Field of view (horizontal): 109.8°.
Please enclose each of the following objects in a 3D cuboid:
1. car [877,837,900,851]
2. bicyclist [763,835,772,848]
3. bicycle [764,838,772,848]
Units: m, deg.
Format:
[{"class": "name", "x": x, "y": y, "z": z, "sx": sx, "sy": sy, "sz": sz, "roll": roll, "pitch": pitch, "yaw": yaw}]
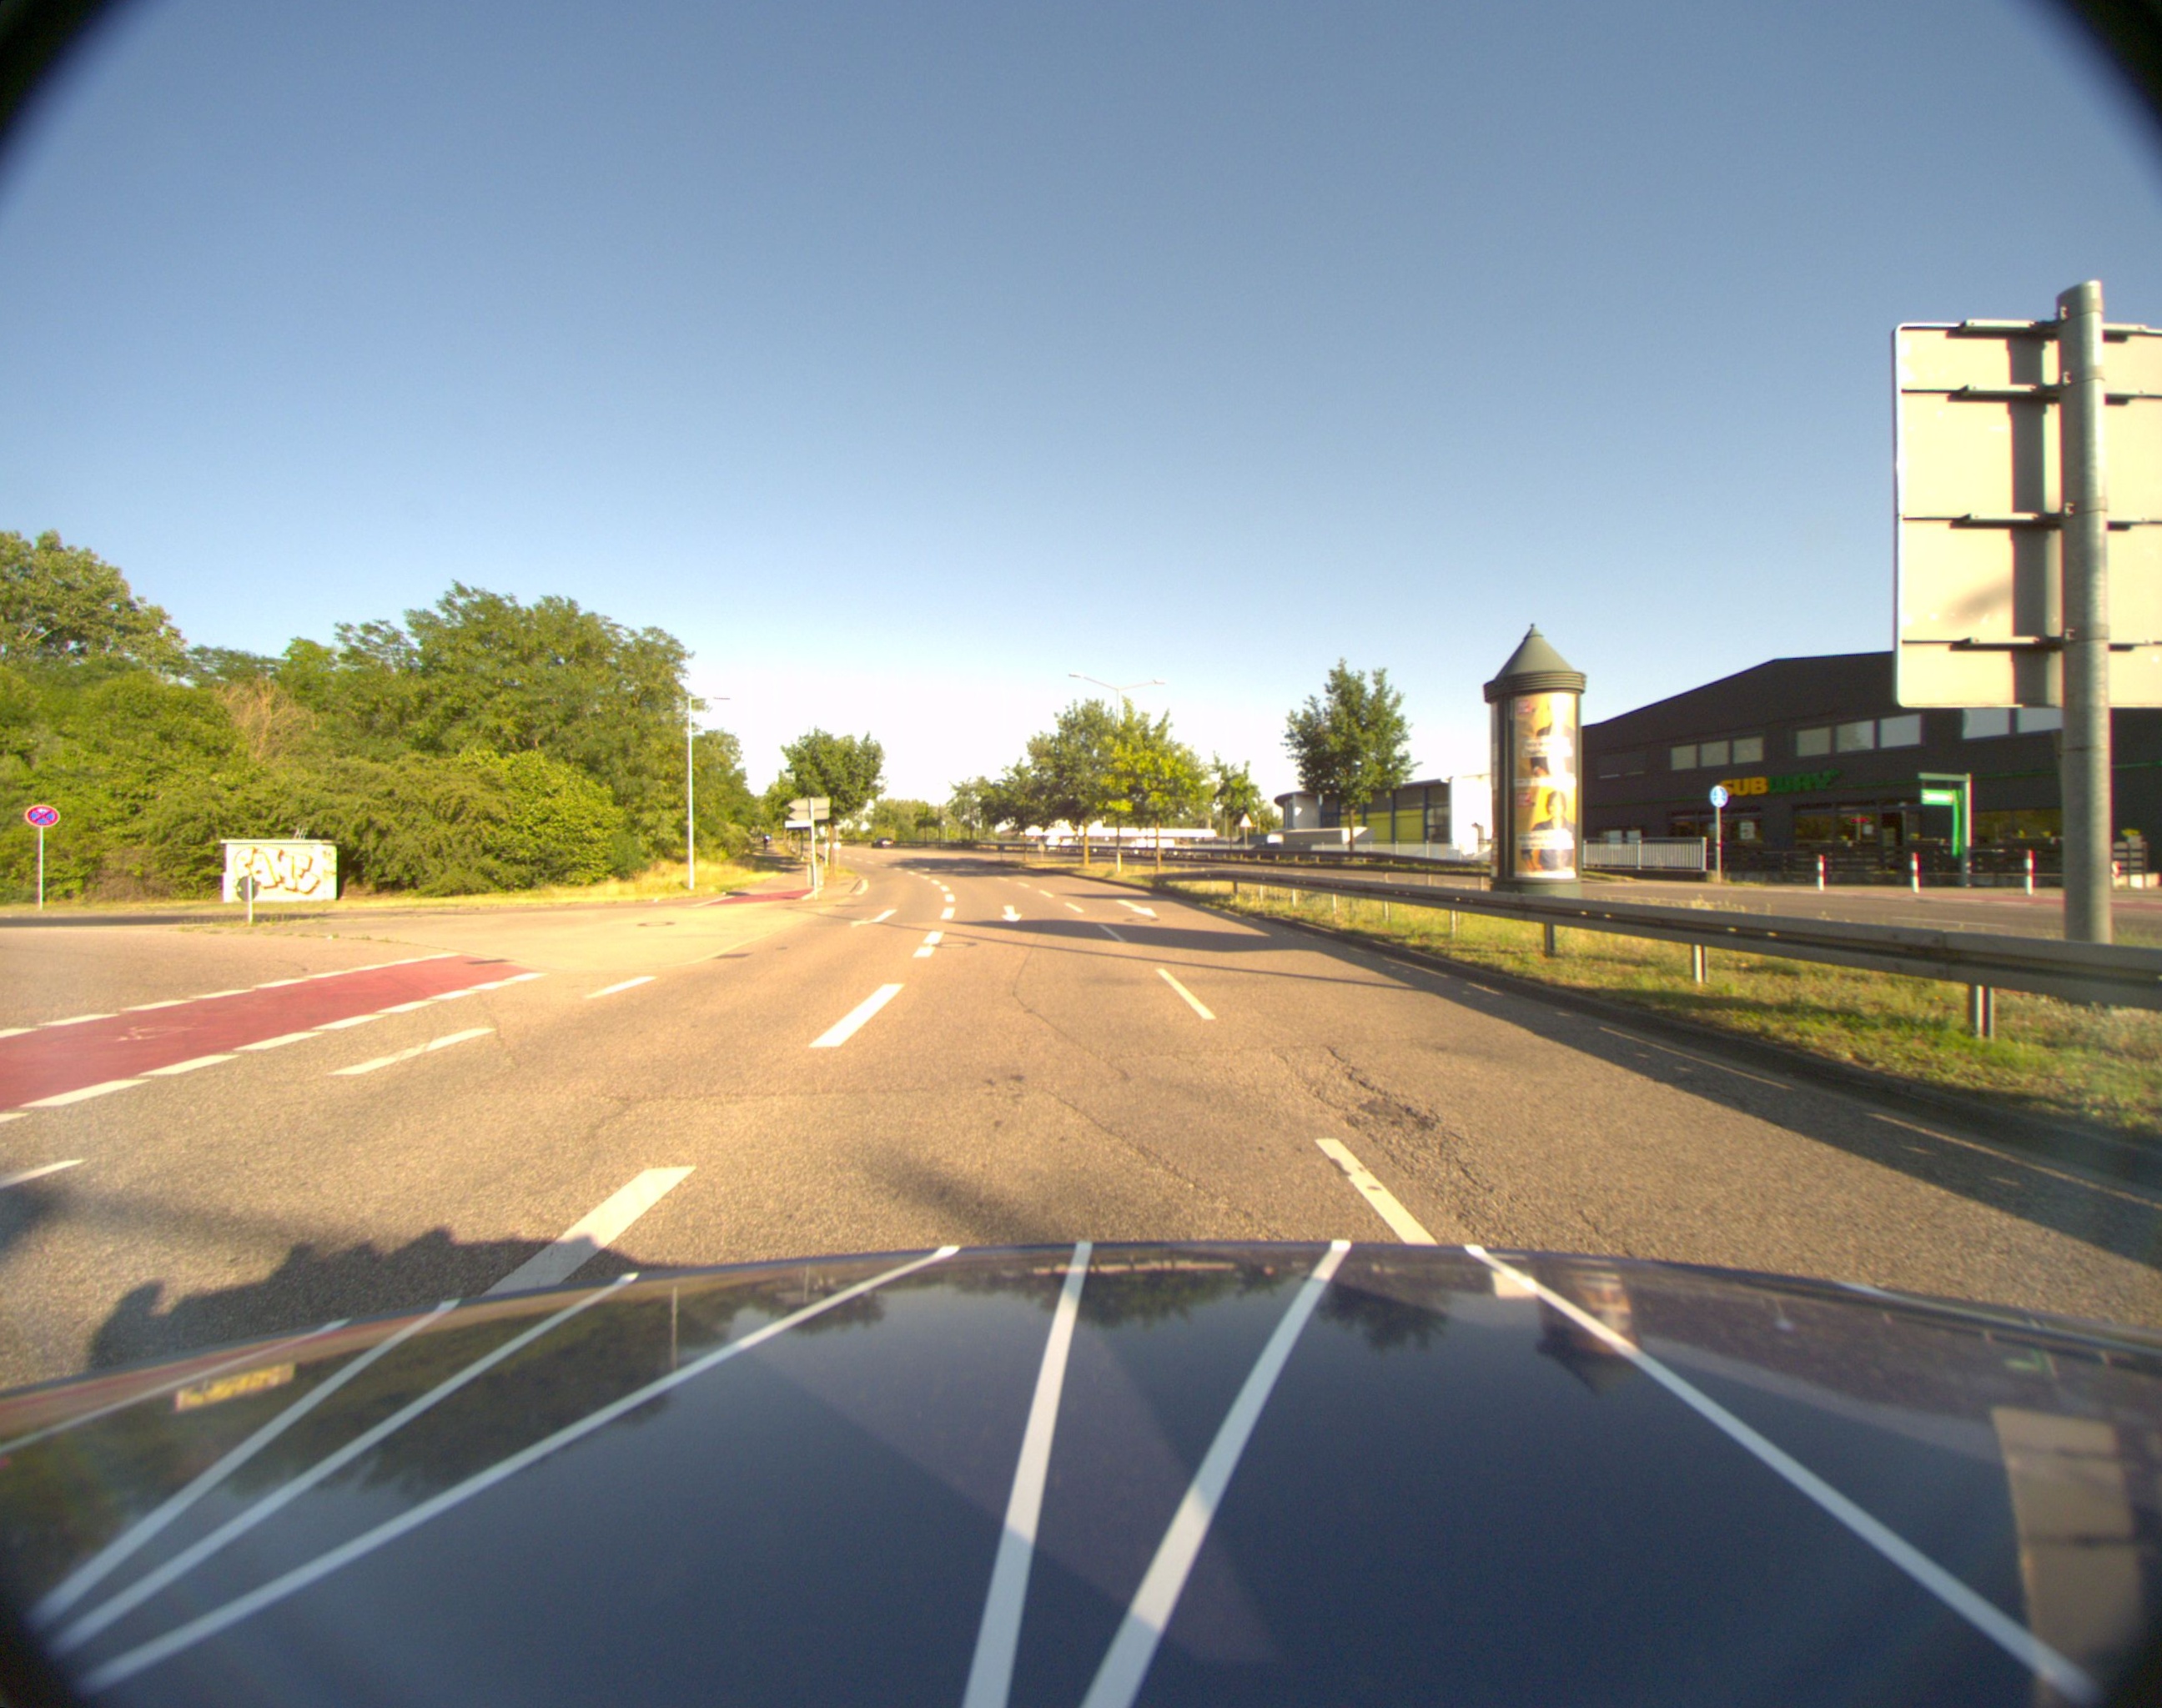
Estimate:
[{"class": "car", "x": -25.828, "y": -1.365, "z": 101.775, "sx": 2.003, "sy": 1.761, "sz": 3.991, "roll": -3, "pitch": 1, "yaw": -30}, {"class": "bicyclist", "x": -35.729, "y": -1.427, "z": 86.635, "sx": 0.844, "sy": 1.413, "sz": 1.112, "roll": -3, "pitch": 1, "yaw": -20}, {"class": "bicycle", "x": -35.677, "y": -1.235, "z": 86.601, "sx": 0.783, "sy": 1.051, "sz": 2.492, "roll": -3, "pitch": 1, "yaw": -21}]
